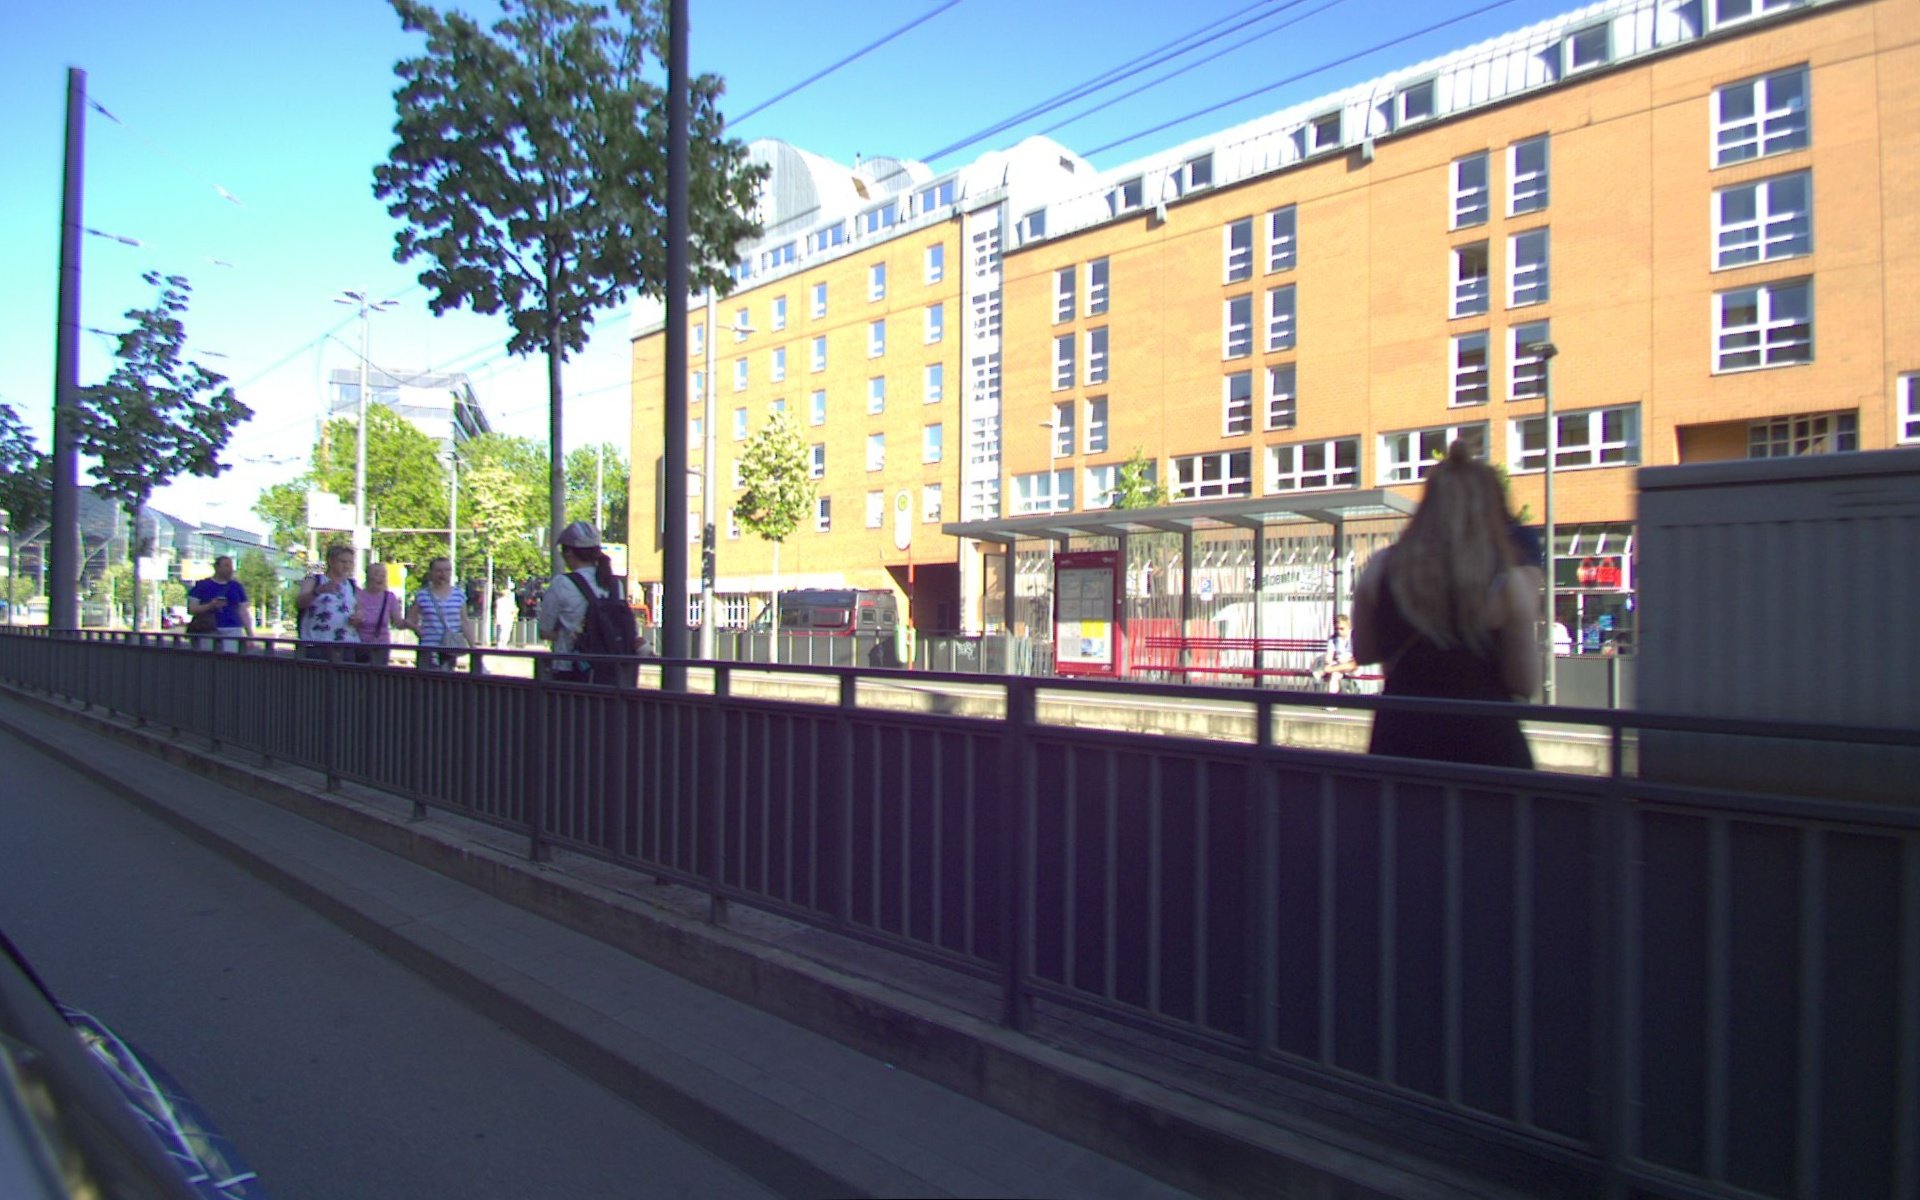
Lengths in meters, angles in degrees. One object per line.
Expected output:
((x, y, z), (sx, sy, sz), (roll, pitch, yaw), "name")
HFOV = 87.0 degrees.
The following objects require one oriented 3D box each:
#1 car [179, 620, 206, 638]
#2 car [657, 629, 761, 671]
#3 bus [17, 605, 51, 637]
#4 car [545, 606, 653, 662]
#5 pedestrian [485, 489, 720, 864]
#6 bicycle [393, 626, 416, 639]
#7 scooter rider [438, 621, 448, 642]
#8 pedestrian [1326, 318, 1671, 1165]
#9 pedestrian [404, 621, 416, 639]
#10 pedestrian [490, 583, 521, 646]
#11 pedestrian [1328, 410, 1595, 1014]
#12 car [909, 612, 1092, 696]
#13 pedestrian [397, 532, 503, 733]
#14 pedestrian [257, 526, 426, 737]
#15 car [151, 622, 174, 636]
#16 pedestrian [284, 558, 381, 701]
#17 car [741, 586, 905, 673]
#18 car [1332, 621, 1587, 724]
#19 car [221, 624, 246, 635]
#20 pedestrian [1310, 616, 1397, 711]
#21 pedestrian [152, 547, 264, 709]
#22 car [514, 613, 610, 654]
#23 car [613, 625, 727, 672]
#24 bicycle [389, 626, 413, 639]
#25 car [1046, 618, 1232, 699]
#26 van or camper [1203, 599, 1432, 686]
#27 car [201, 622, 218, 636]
((-107.787, 4.072, 142.184), (1.965, 2.499, 5.993), (1, -3, -27), "car")
((-9.675, 1.895, 38.845), (3.996, 1.544, 1.867), (-2, -3, 40), "car")
((-106.524, 2.468, 116.484), (2.685, 3.434, 9.678), (2, -3, -42), "bus")
((-15.932, 1.462, 44.567), (5.260, 2.306, 2.058), (-1, -2, 40), "car")
((-1.700, 0.333, 4.803), (0.906, 1.574, 0.666), (-1, -2, 41), "pedestrian")
((-52.316, 3.059, 95.322), (1.816, 1.138, 0.776), (2, -2, -44), "bicycle")
((-46.465, 2.804, 91.004), (0.579, 1.847, 0.765), (1, -2, -8), "scooter rider")
((1.322, 0.292, 2.499), (0.651, 1.745, 0.499), (-1, -2, 41), "pedestrian")
((-53.361, 2.897, 98.126), (0.878, 1.778, 0.732), (2, -4, -37), "pedestrian")
((-12.422, 0.413, 27.649), (0.668, 1.696, 0.577), (1, -2, -16), "pedestrian")
((1.697, 0.330, 3.417), (0.651, 1.745, 0.712), (-1, -2, 41), "pedestrian")
((0.933, 1.297, 24.900), (4.314, 1.881, 1.866), (-2, -3, 41), "car")
((-4.475, 0.285, 8.918), (0.648, 1.685, 0.673), (1, -2, -12), "pedestrian")
((-5.259, 0.274, 8.698), (0.876, 1.685, 1.098), (1, -2, -11), "pedestrian")
((-83.108, 3.026, 105.410), (1.666, 1.439, 4.006), (2, -3, -40), "car")
((-6.907, 0.317, 11.139), (0.828, 1.494, 0.675), (-1, -2, 41), "pedestrian")
((-4.115, 0.863, 29.891), (4.917, 2.376, 2.024), (-1, -2, 41), "car")
((10.124, 1.425, 20.744), (4.317, 1.881, 1.865), (-2, -3, 44), "car")
((-112.989, 4.636, 157.366), (1.833, 1.644, 4.276), (1, -2, -17), "car")
((5.174, 0.814, 13.306), (0.906, 1.199, 0.666), (-1, -2, 41), "pedestrian")
((-8.222, 0.310, 11.064), (0.877, 1.685, 0.673), (2, -3, -43), "pedestrian")
((-15.840, 1.352, 40.209), (3.996, 1.544, 1.867), (-2, -3, 40), "car")
((-10.059, 1.672, 35.020), (3.996, 1.544, 1.867), (-2, -3, 40), "car")
((-52.971, 3.085, 95.956), (1.816, 1.138, 0.776), (2, -2, -44), "bicycle")
((4.472, 1.448, 25.712), (4.313, 1.881, 1.866), (-2, -3, 41), "car")
((9.770, 1.211, 28.054), (5.615, 2.186, 1.972), (-4, -4, 43), "van or camper")
((-115.423, 4.484, 155.629), (1.584, 2.029, 3.898), (2, -2, -29), "car")
